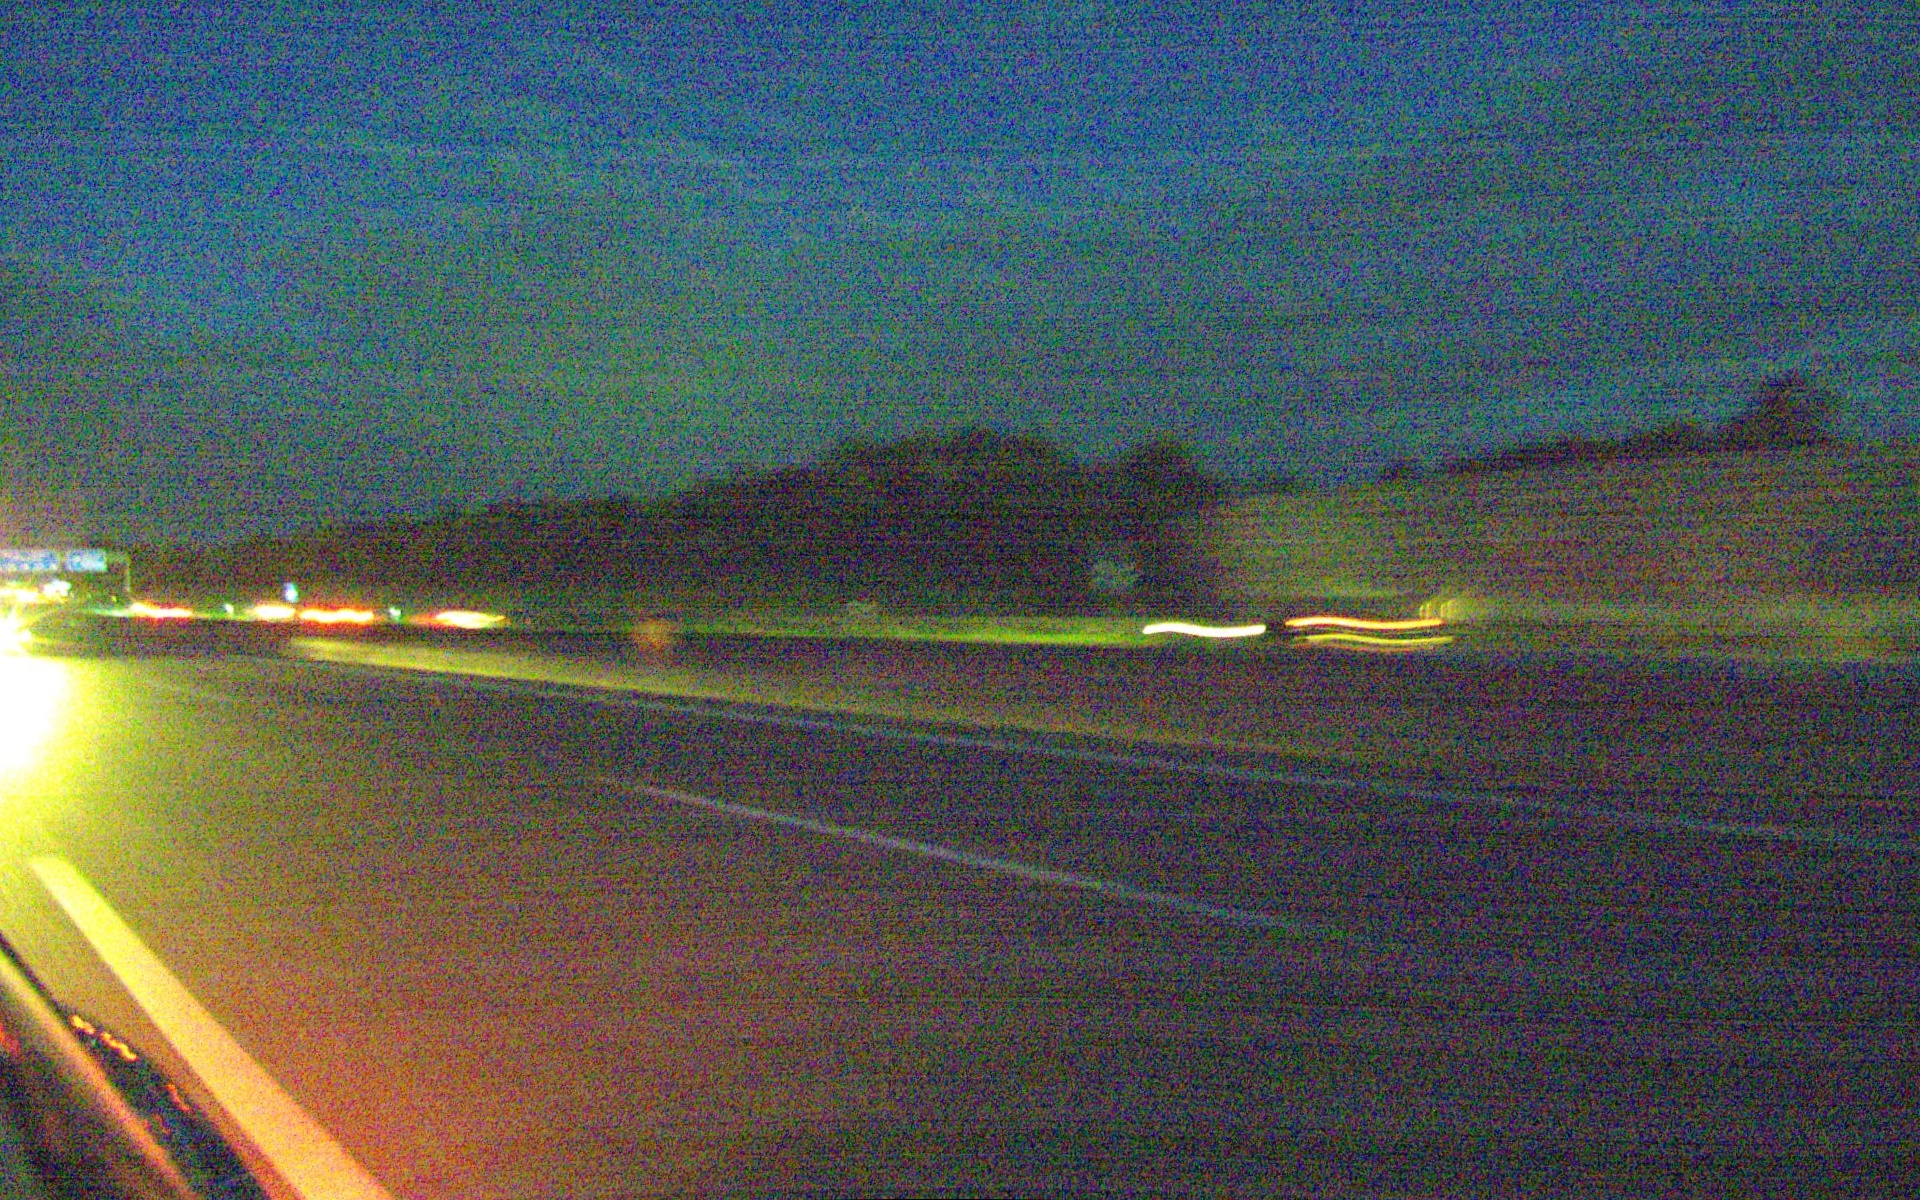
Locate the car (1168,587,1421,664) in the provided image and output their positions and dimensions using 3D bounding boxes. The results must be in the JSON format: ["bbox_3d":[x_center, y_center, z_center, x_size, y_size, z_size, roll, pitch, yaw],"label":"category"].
[{"bbox_3d":[7.543,0.548,23.148,5.105,1.567,2.097,-1,0,40],"label":"car"}]

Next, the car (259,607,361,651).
[{"bbox_3d":[-27.926,1.208,43.385,5.622,1.734,2.097,-1,0,40],"label":"car"}]

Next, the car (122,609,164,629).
[{"bbox_3d":[-75.426,1.753,93.372,5.625,1.734,2.096,-1,0,42],"label":"car"}]

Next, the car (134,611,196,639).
[{"bbox_3d":[-51.460,1.596,65.464,5.622,1.734,2.097,-1,0,40],"label":"car"}]

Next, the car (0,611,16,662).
[{"bbox_3d":[-31.726,1.179,32.063,5.646,1.530,1.973,-2,0,40],"label":"car"}]

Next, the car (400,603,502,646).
[{"bbox_3d":[-21.893,1.032,43.446,5.105,1.710,2.097,-1,0,40],"label":"car"}]

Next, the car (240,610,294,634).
[{"bbox_3d":[-52.671,1.638,76.904,5.188,1.734,2.097,-1,0,40],"label":"car"}]
